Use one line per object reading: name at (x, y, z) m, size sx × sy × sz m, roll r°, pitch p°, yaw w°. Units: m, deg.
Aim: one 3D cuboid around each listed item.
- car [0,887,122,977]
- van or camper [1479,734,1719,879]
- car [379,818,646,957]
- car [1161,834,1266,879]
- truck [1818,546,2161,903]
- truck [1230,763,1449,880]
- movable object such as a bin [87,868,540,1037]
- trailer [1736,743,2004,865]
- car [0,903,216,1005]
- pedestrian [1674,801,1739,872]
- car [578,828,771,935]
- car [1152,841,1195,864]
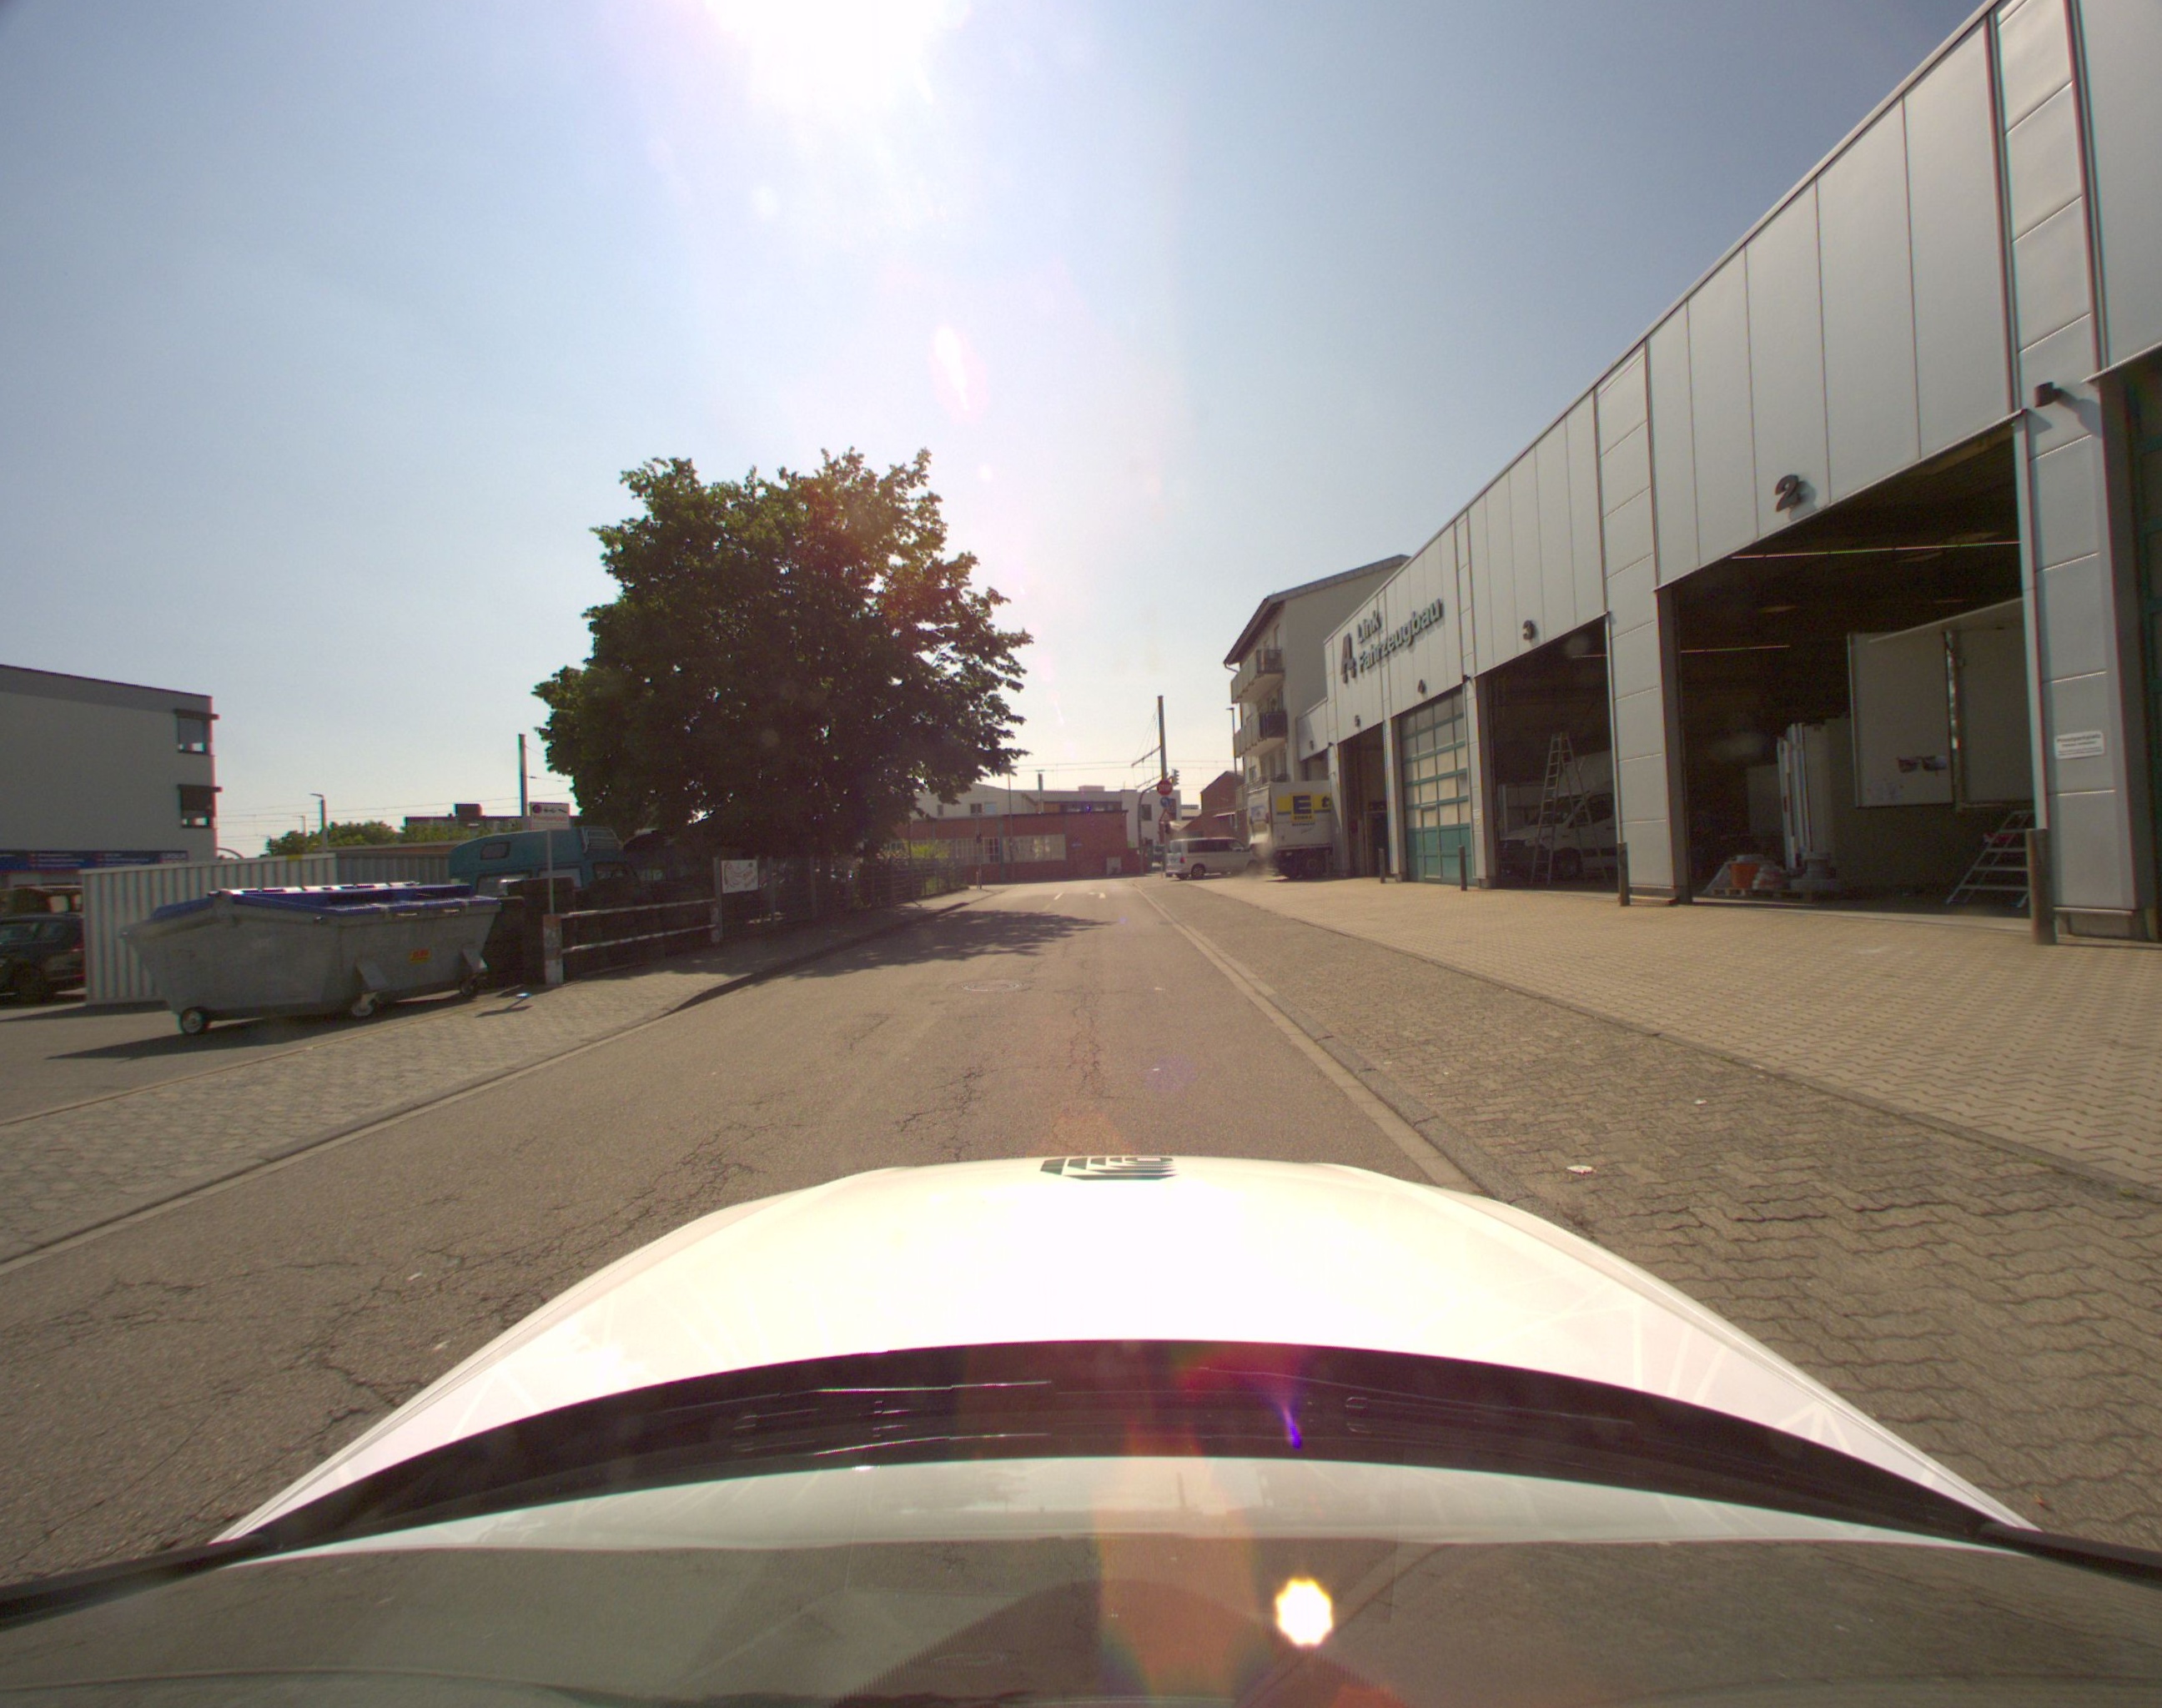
car at (-28.455, 2.112, 21.601) m, size 3.964 × 2.145 × 2.005 m, roll -4°, pitch 0°, yaw 8°
van or camper at (13.041, -1.157, 20.705) m, size 4.744 × 3.288 × 1.998 m, roll -3°, pitch 0°, yaw -3°
car at (-11.514, 0.644, 16.705) m, size 4.073 × 2.513 × 1.776 m, roll -3°, pitch 0°, yaw -1°
car at (6.478, 0.102, 39.951) m, size 4.667 × 1.957 × 1.905 m, roll -3°, pitch 0°, yaw -18°
truck at (13.055, -1.478, 9.975) m, size 5.275 × 3.748 × 2.781 m, roll -3°, pitch 0°, yaw 4°
truck at (9.858, -1.218, 31.525) m, size 7.348 × 3.645 × 2.763 m, roll -6°, pitch 0°, yaw -5°
movable object such as a bin at (-8.639, 1.027, 9.524) m, size 2.613 × 1.510 × 2.734 m, roll -3°, pitch 0°, yaw 7°
trailer at (20.205, -1.228, 21.065) m, size 4.479 × 2.764 × 2.437 m, roll -3°, pitch 0°, yaw 0°
car at (-17.976, 1.752, 14.149) m, size 4.124 × 1.455 × 1.755 m, roll -4°, pitch 0°, yaw 4°
pedestrian at (14.902, -0.414, 19.433) m, size 0.809 × 1.620 × 0.865 m, roll -3°, pitch 0°, yaw 0°
car at (-10.626, 0.695, 21.526) m, size 4.073 × 2.513 × 1.776 m, roll -3°, pitch 0°, yaw -1°
car at (9.690, -0.130, 85.041) m, size 4.013 × 2.189 × 1.980 m, roll -3°, pitch 0°, yaw -31°
